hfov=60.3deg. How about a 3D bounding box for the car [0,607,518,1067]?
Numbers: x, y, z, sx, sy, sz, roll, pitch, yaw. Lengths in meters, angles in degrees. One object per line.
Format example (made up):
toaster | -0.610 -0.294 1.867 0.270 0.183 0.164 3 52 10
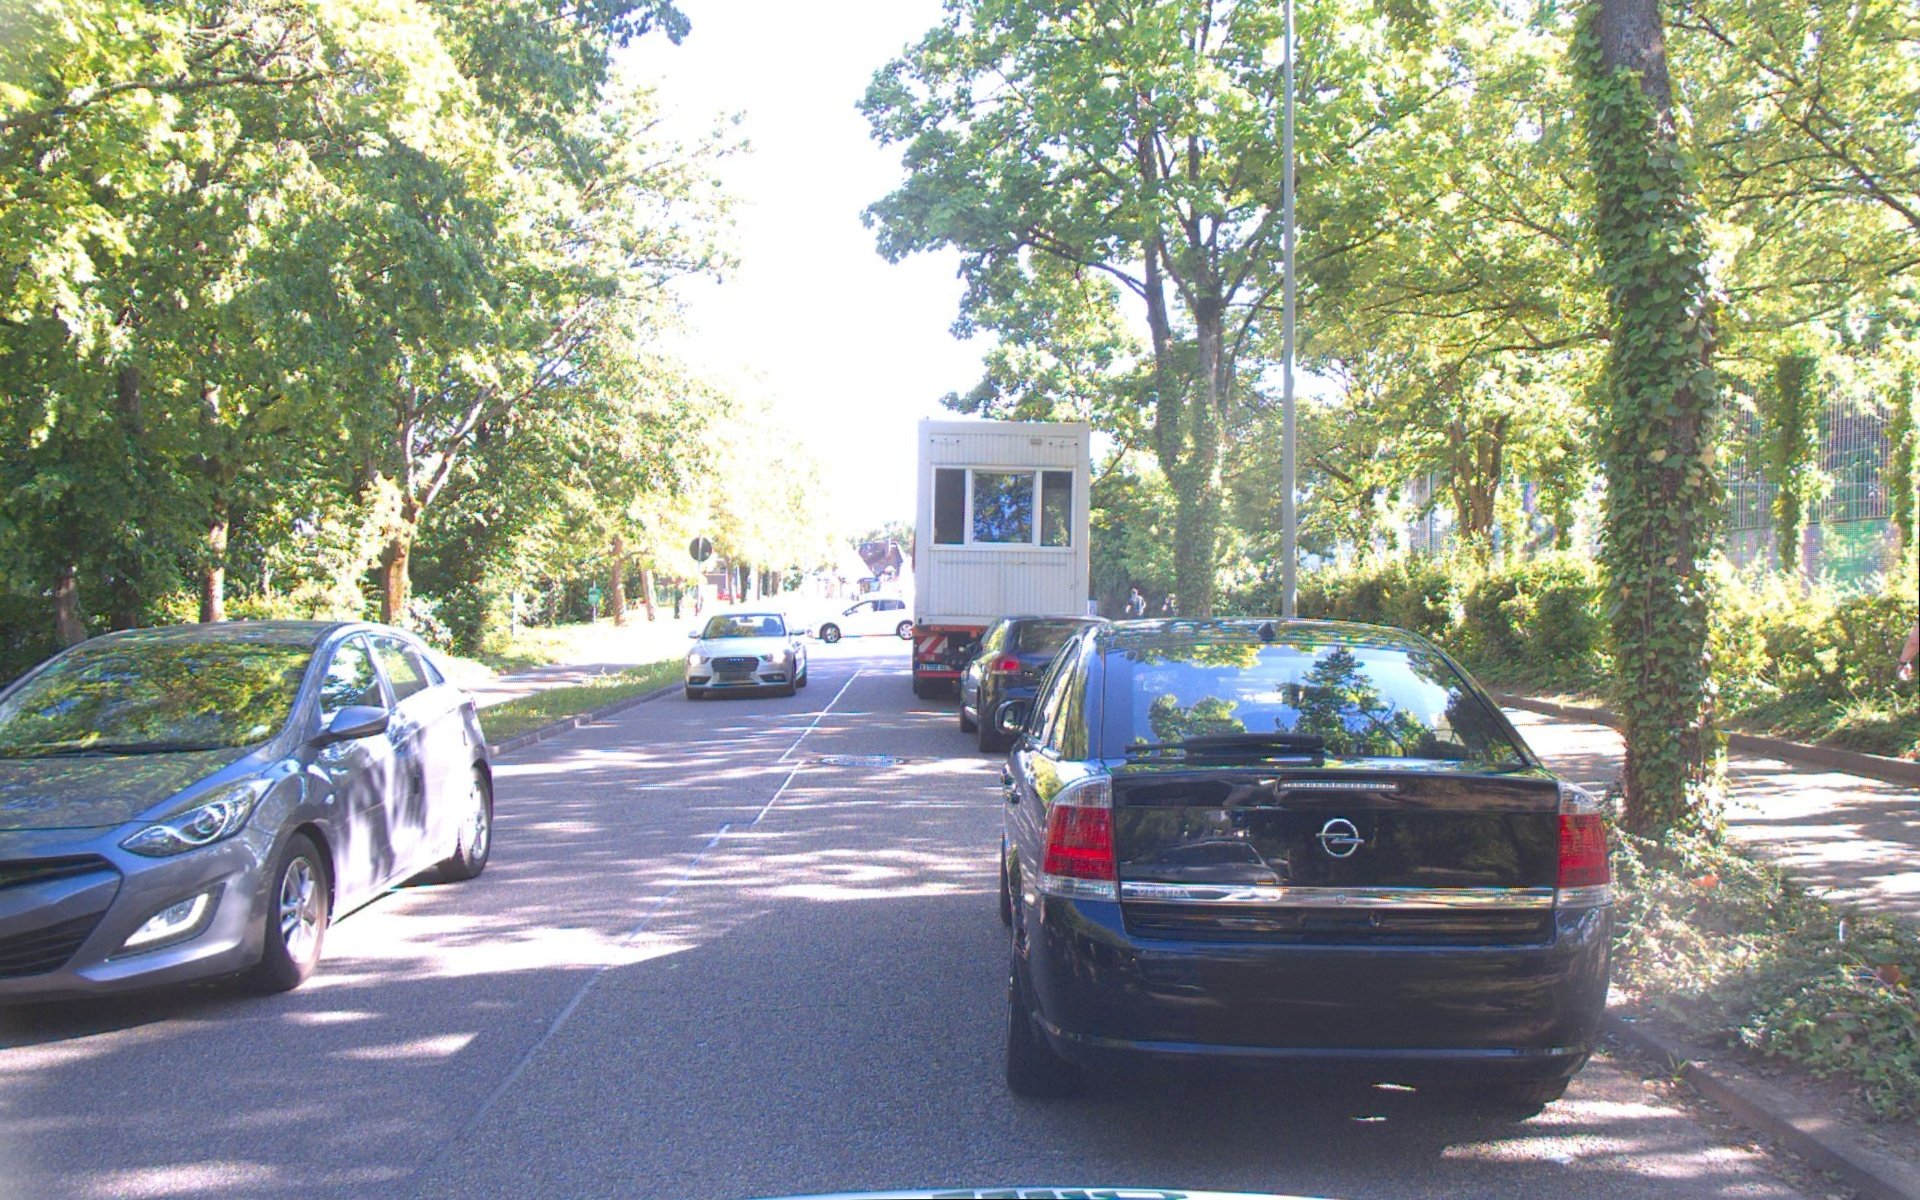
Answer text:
car | -3.453 0.826 7.719 1.720 1.479 4.241 -2 1 -2

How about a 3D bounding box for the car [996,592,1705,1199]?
car | 1.025 0.750 6.158 1.712 1.506 4.030 0 0 0

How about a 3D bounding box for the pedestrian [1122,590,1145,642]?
pedestrian | 5.577 0.510 53.101 0.586 1.639 0.599 -2 0 -5

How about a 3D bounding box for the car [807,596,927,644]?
car | -3.139 0.672 56.213 3.864 1.445 1.812 -2 0 2

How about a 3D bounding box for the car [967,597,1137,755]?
car | 0.919 0.736 18.076 1.606 1.445 4.000 -2 0 1

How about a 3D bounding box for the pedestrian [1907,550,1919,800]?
pedestrian | 6.548 0.490 10.667 0.559 1.636 0.672 0 0 8

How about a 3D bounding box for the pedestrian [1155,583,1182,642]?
pedestrian | 6.705 0.400 53.108 0.684 1.844 0.699 -2 0 -5

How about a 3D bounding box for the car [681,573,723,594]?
car | -26.654 -1.698 171.072 3.905 2.049 2.000 -2 0 0

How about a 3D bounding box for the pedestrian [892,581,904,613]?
pedestrian | -4.306 -0.212 114.860 0.737 2.150 0.799 1 0 1

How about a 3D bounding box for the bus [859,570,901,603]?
bus | -8.813 -1.472 182.993 3.981 3.407 9.801 -2 0 1

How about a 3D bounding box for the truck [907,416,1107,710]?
truck | 0.498 -0.553 28.340 2.717 4.065 10.344 1 0 -2

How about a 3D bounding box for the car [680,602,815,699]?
car | -3.551 0.805 28.307 1.750 1.441 4.104 -2 1 0
